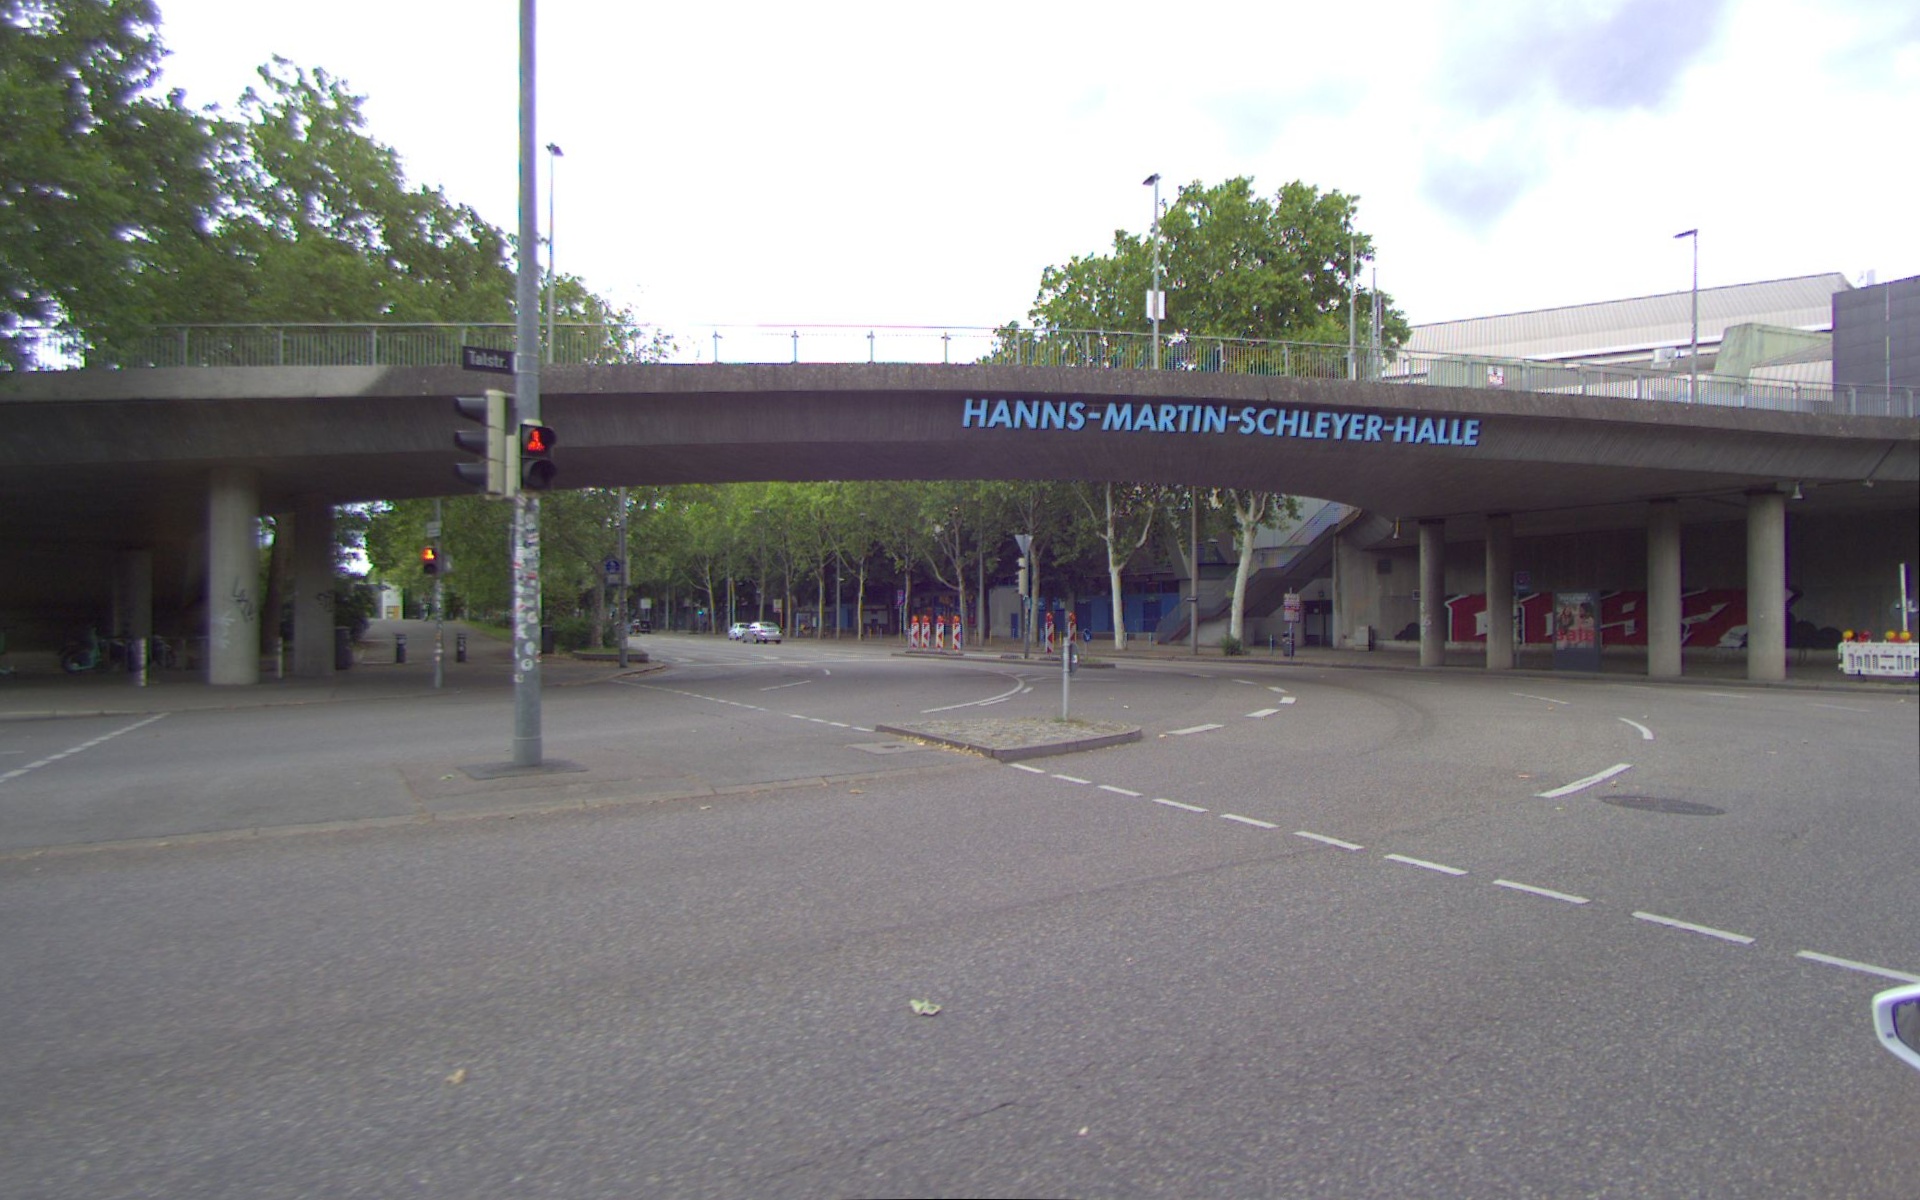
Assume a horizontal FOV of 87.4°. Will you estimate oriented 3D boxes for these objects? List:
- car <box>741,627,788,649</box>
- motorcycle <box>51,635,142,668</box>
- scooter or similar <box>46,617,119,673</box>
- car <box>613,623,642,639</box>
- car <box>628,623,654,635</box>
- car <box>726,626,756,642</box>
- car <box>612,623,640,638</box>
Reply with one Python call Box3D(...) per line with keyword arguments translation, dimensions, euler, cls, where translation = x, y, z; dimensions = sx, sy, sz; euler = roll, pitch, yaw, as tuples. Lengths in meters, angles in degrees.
Box3D(translation=(-13.605, 2.635, 69.729), dimensions=(1.977, 1.437, 3.967), euler=(1, -1, -30), cls="car")
Box3D(translation=(-23.308, 1.380, 27.148), dimensions=(1.714, 0.862, 0.646), euler=(1, -1, -26), cls="motorcycle")
Box3D(translation=(-21.559, 1.115, 24.706), dimensions=(1.214, 1.335, 0.414), euler=(4, -3, -32), cls="scooter or similar")
Box3D(translation=(-37.677, 3.519, 113.634), dimensions=(1.981, 1.682, 3.958), euler=(1, -1, -36), cls="car")
Box3D(translation=(-38.988, 3.499, 122.579), dimensions=(1.833, 1.443, 3.959), euler=(1, -2, -36), cls="car")
Box3D(translation=(-19.091, 2.933, 87.529), dimensions=(1.597, 1.330, 3.369), euler=(1, -1, -30), cls="car")
Box3D(translation=(-34.290, 3.165, 103.162), dimensions=(1.976, 1.437, 3.968), euler=(1, -1, -30), cls="car")
